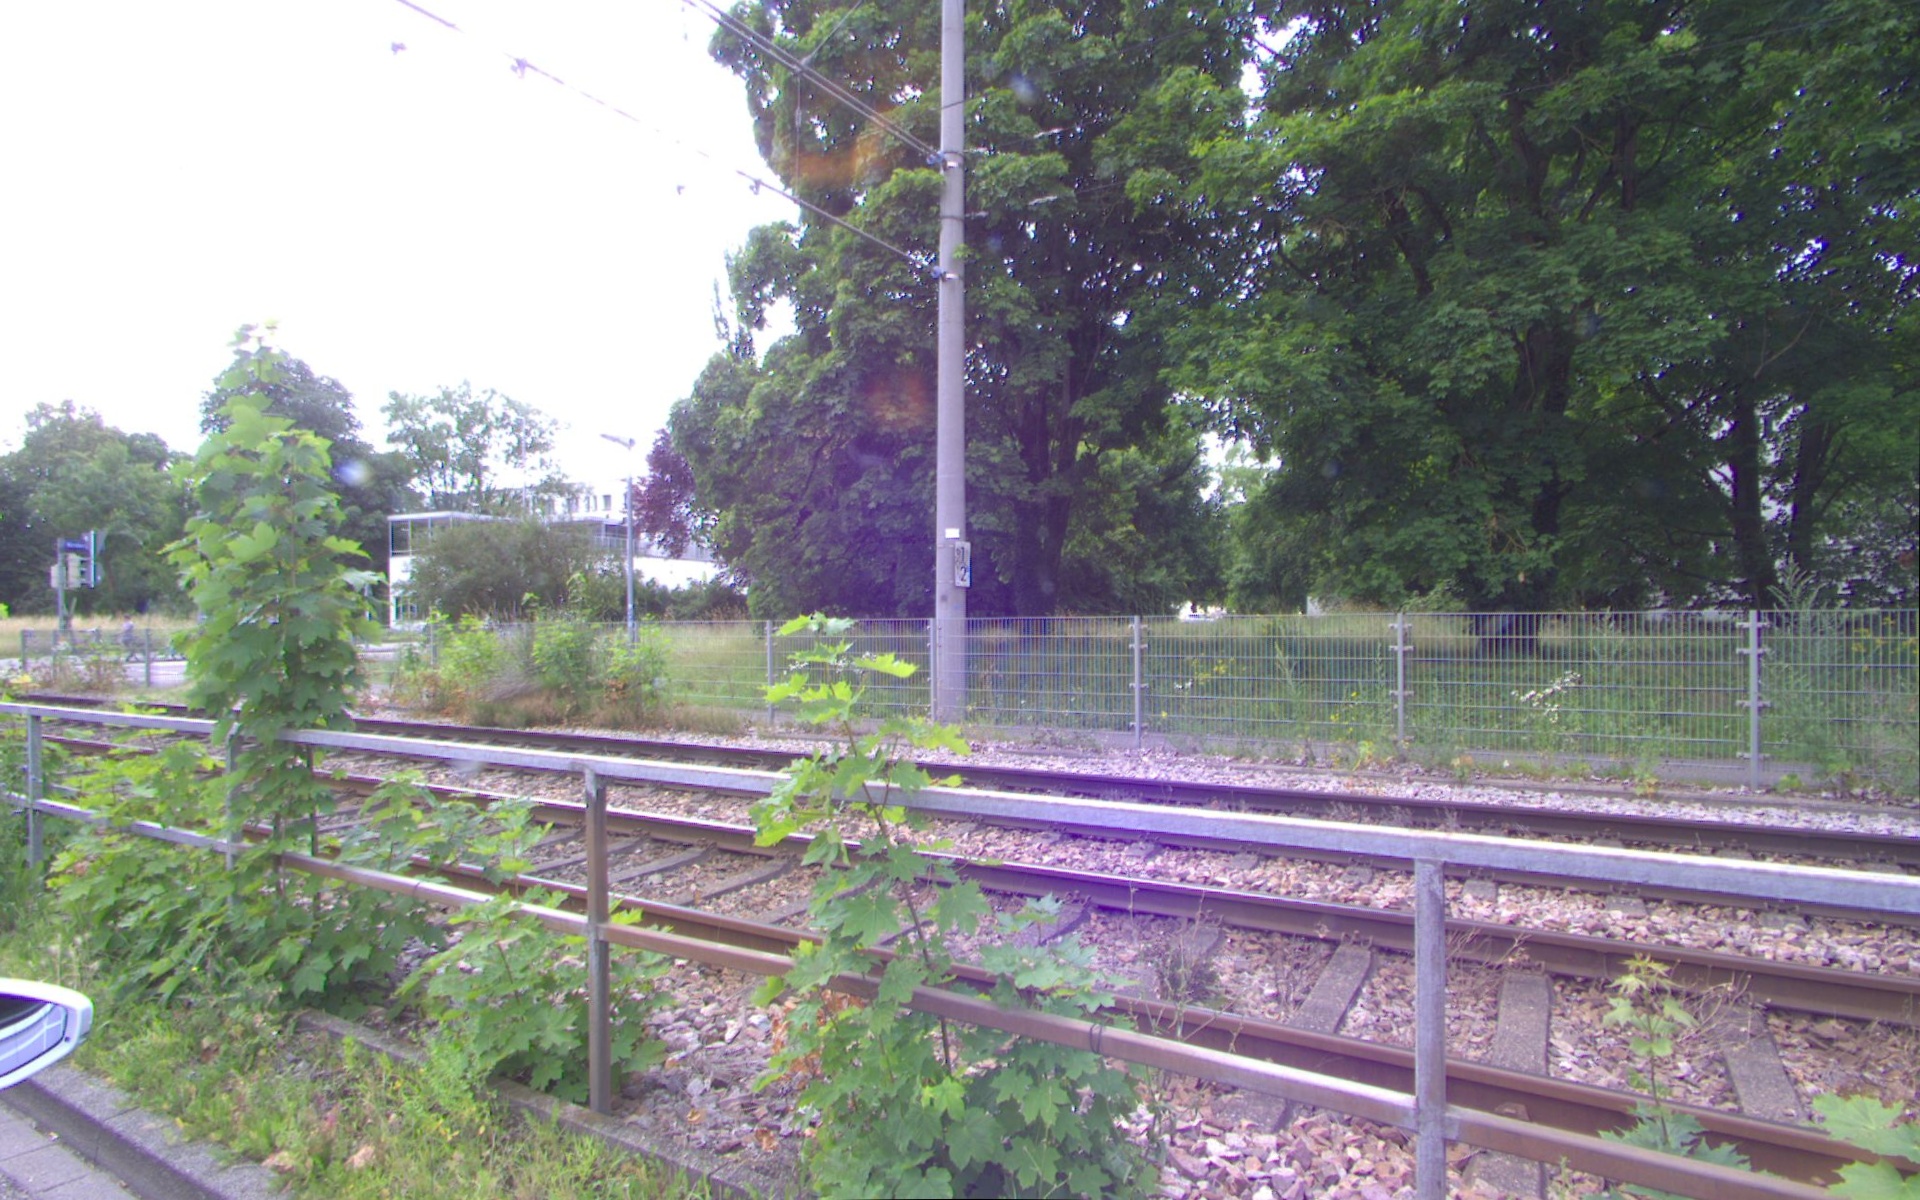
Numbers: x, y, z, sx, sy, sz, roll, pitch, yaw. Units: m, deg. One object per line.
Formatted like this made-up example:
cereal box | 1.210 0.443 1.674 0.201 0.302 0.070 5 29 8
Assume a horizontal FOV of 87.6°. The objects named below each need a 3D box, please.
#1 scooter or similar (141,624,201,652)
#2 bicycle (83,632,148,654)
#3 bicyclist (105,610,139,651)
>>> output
scooter or similar | -29.694 1.424 37.711 0.949 0.992 1.570 -1 0 34
bicycle | -30.580 1.559 36.288 0.548 0.775 1.718 -1 -2 34
bicyclist | -30.516 1.107 36.464 0.449 1.495 0.837 -1 0 34
